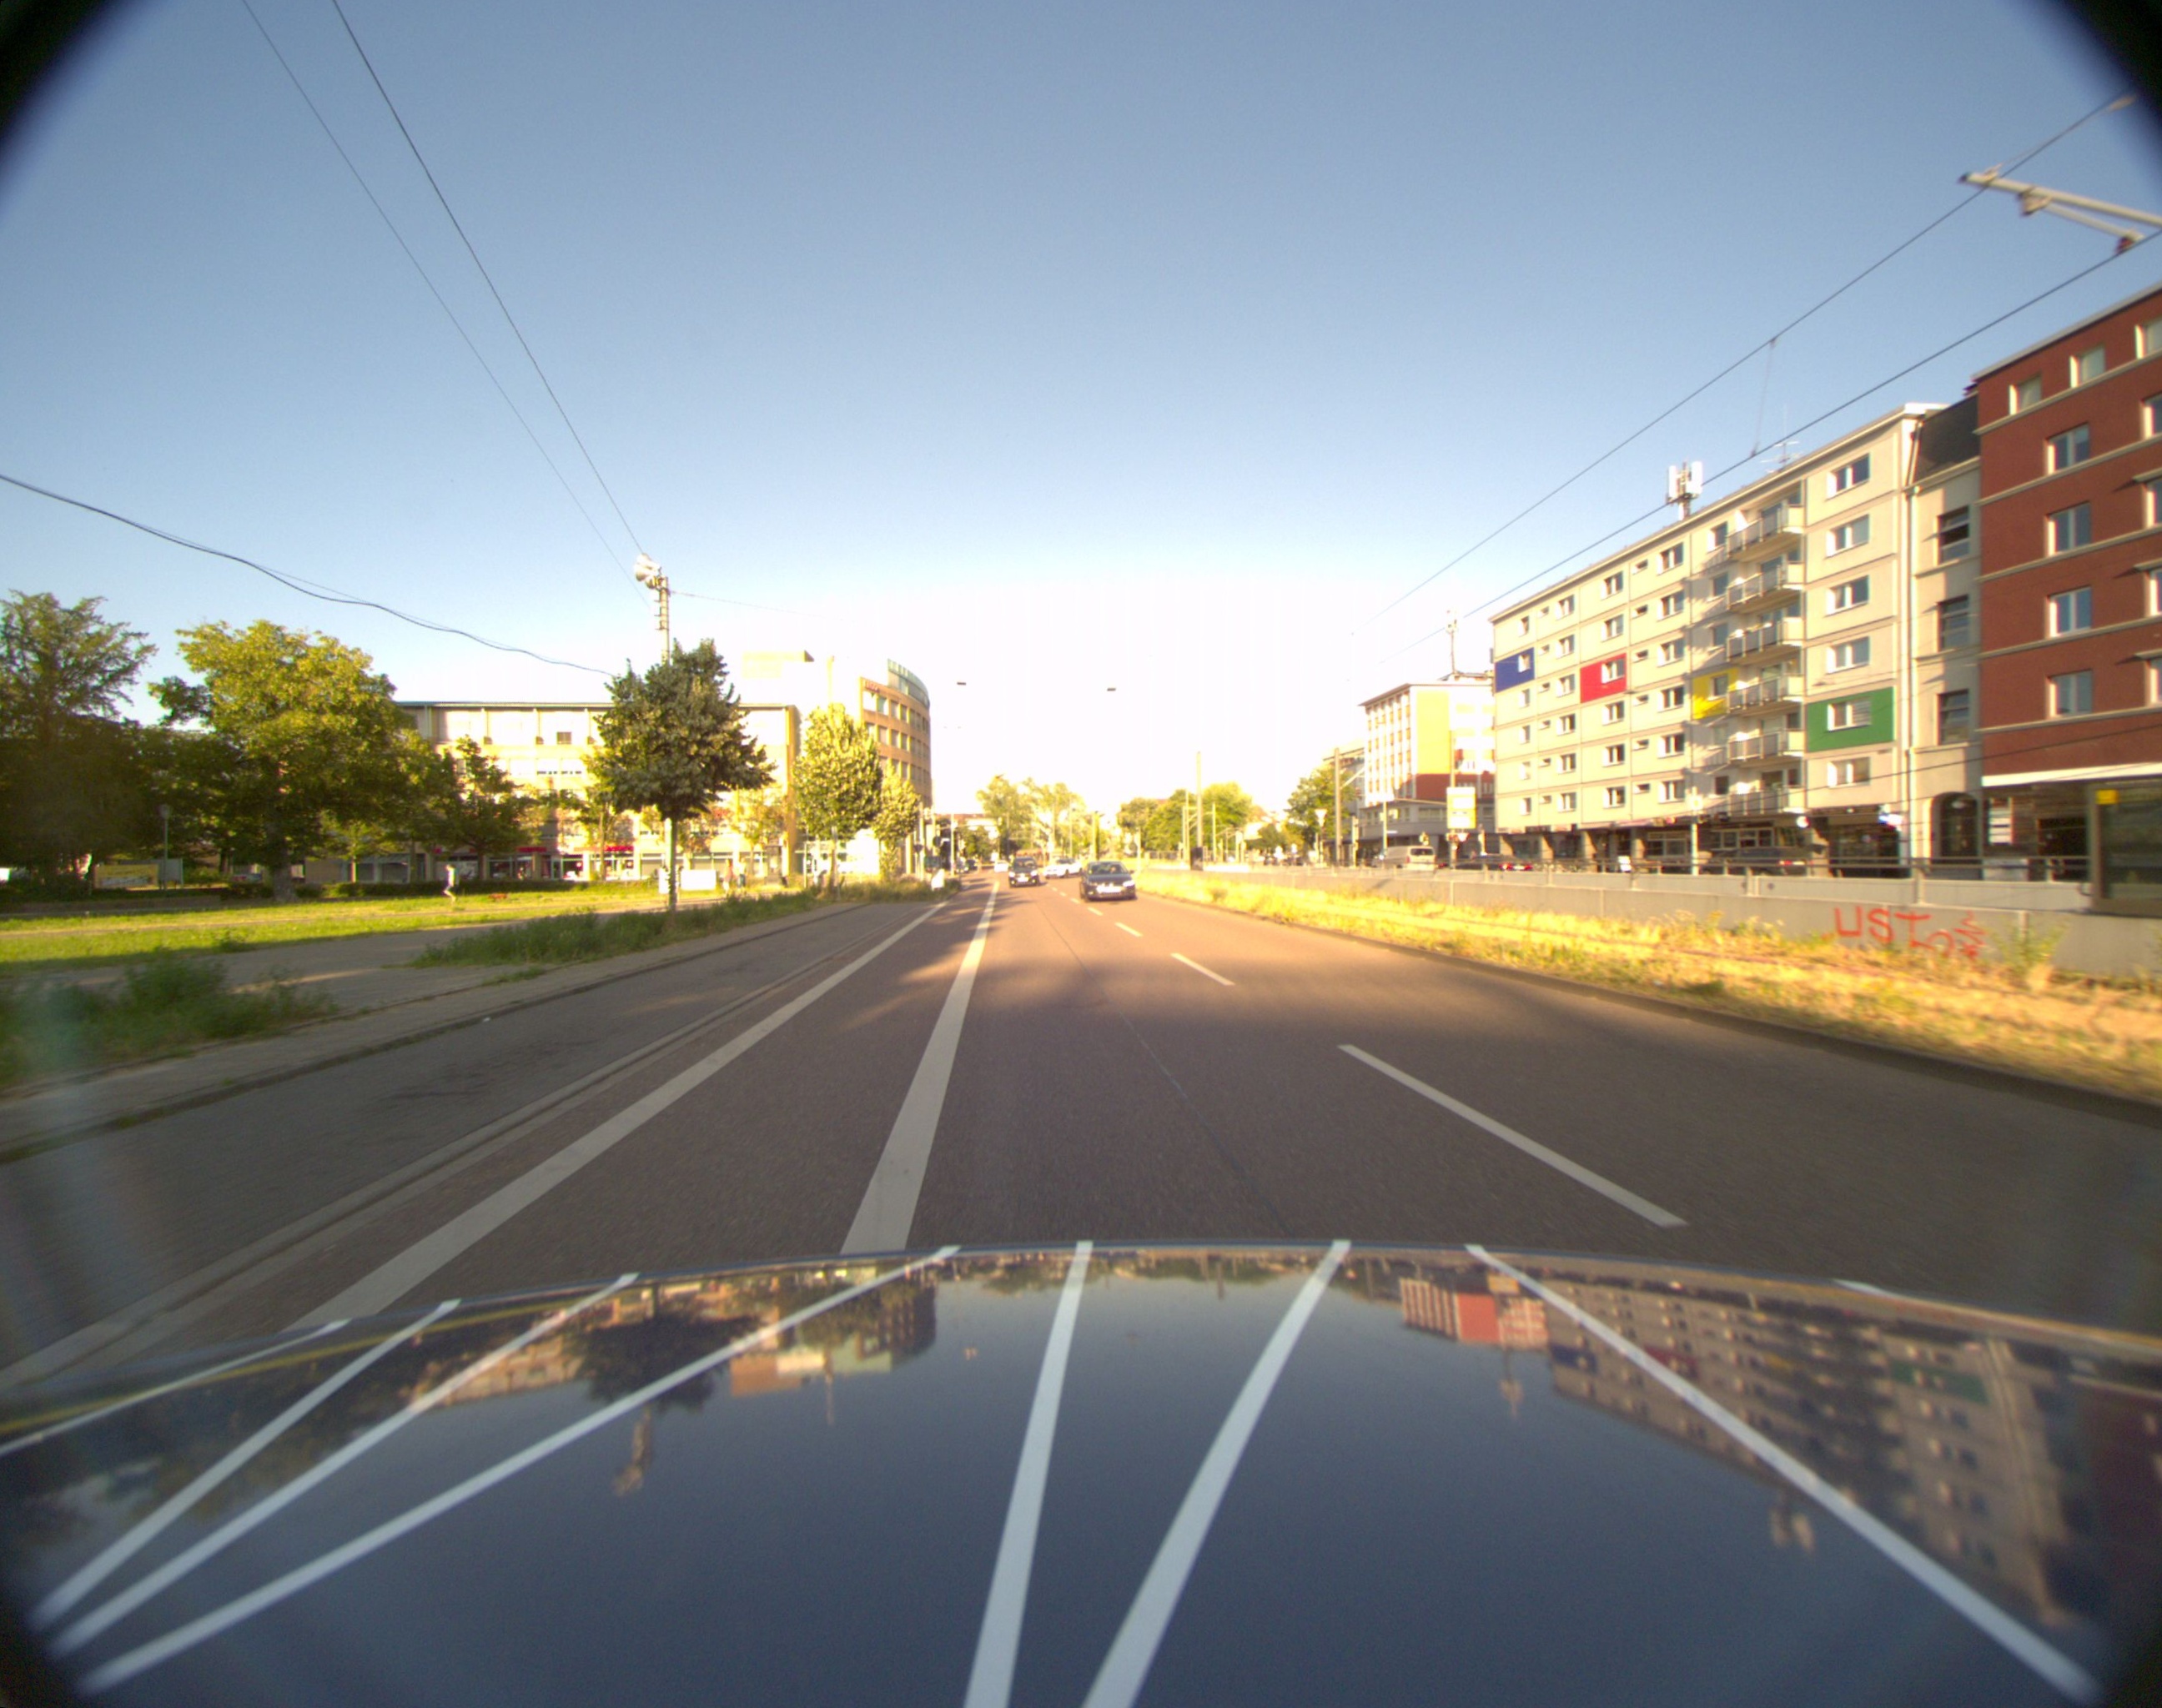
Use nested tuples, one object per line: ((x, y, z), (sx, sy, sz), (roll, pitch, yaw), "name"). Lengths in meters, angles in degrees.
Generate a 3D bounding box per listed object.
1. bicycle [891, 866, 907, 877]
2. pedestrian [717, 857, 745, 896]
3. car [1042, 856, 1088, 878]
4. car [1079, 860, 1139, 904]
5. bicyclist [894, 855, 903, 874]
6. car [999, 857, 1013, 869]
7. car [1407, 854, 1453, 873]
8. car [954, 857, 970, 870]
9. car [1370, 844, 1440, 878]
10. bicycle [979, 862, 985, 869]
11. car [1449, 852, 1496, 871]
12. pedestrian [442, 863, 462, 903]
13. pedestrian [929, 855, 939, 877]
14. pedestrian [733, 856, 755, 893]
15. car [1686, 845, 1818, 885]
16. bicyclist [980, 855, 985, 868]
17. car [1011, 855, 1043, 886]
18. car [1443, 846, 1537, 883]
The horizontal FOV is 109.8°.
((-19.254, 1.818, 80.361), (0.699, 1.044, 1.981), (-2, 0, 19), "bicycle")
((-15.175, 0.960, 32.932), (0.741, 1.640, 0.916), (2, 0, -1), "pedestrian")
((-1.161, 0.953, 58.781), (1.830, 1.528, 4.285), (-1, 1, 24), "car")
((0.929, 0.974, 27.719), (1.770, 1.418, 4.244), (-2, 0, -3), "car")
((-19.292, 1.137, 80.312), (0.577, 1.927, 0.698), (-2, 0, 18), "bicyclist")
((-9.976, 1.138, 100.819), (1.770, 1.464, 4.011), (-3, 1, -6), "car")
((23.812, 0.627, 51.962), (1.230, 1.280, 3.187), (-1, 0, -11), "car")
((-15.147, 1.166, 97.152), (1.770, 1.464, 4.011), (-3, 1, -6), "car")
((20.379, 0.436, 48.043), (1.999, 2.002, 4.772), (-1, 0, -6), "car")
((-12.711, 1.478, 97.923), (0.609, 0.923, 1.776), (-1, 0, -2), "bicycle")
((41.441, 0.752, 80.445), (3.998, 1.770, 1.741), (-3, 1, -5), "car")
((-27.573, 1.252, 33.298), (0.644, 1.729, 0.595), (-1, 0, -38), "pedestrian")
((-11.807, 0.974, 61.084), (0.651, 1.714, 0.714), (-1, 0, -3), "pedestrian")
((-15.244, 0.916, 34.388), (0.599, 1.679, 0.781), (1, 0, -1), "pedestrian")
((32.222, 0.490, 36.703), (1.999, 1.786, 4.740), (-1, 0, -4), "car")
((-12.725, 0.957, 97.935), (0.552, 1.600, 0.832), (-1, 0, -2), "bicyclist")
((-3.267, 0.934, 45.183), (1.770, 1.722, 4.145), (-1, 0, -6), "car")
((20.903, 0.516, 39.096), (1.999, 1.786, 4.893), (-1, 0, -4), "car")
